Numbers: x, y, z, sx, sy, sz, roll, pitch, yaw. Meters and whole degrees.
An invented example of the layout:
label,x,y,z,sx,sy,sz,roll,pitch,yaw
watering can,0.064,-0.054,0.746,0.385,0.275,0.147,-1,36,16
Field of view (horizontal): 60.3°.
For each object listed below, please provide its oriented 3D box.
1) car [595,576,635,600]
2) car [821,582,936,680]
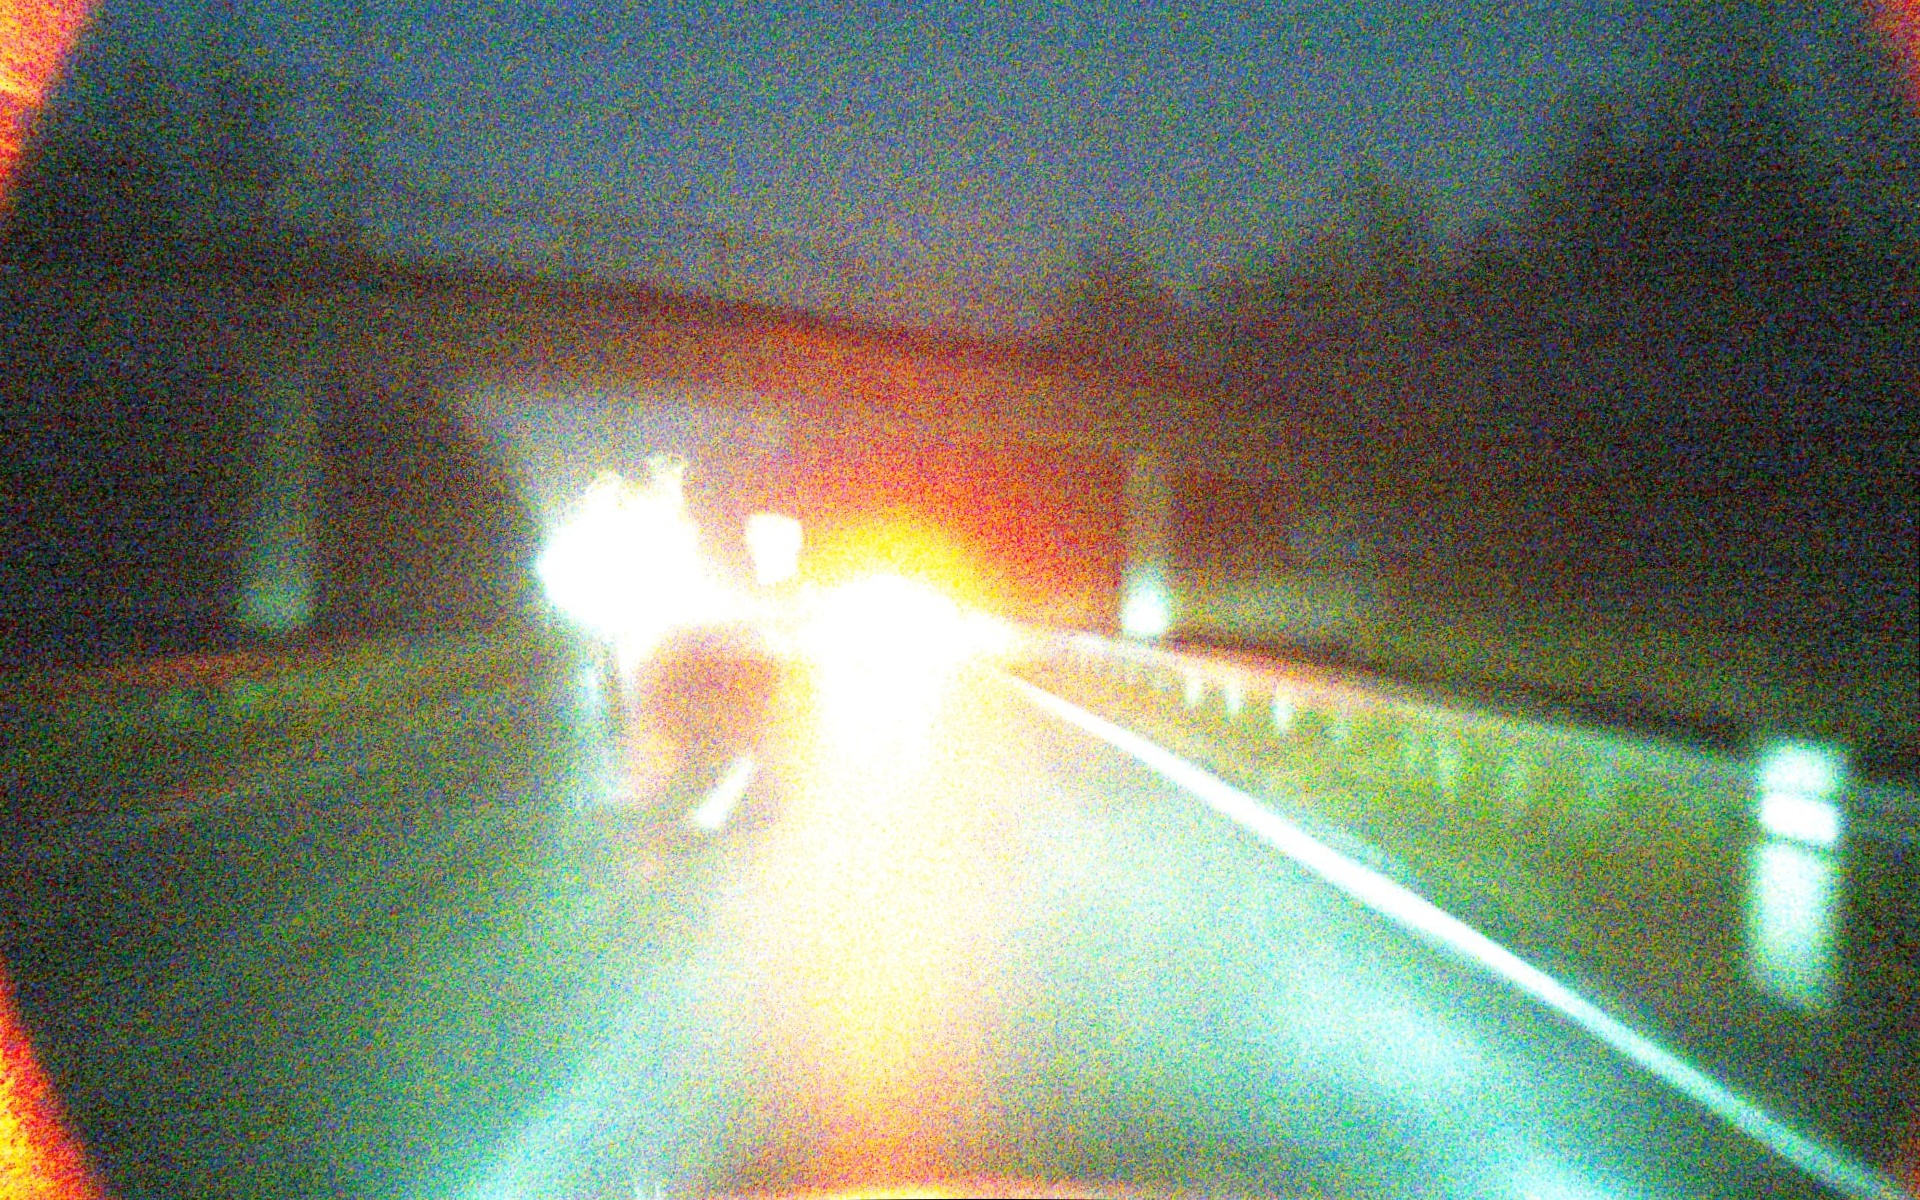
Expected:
label,x,y,z,sx,sy,sz,roll,pitch,yaw
car,-24.001,-0.856,114.918,1.904,1.612,4.951,-2,1,-22
car,-1.660,0.534,32.151,1.955,1.656,4.979,1,1,-6
